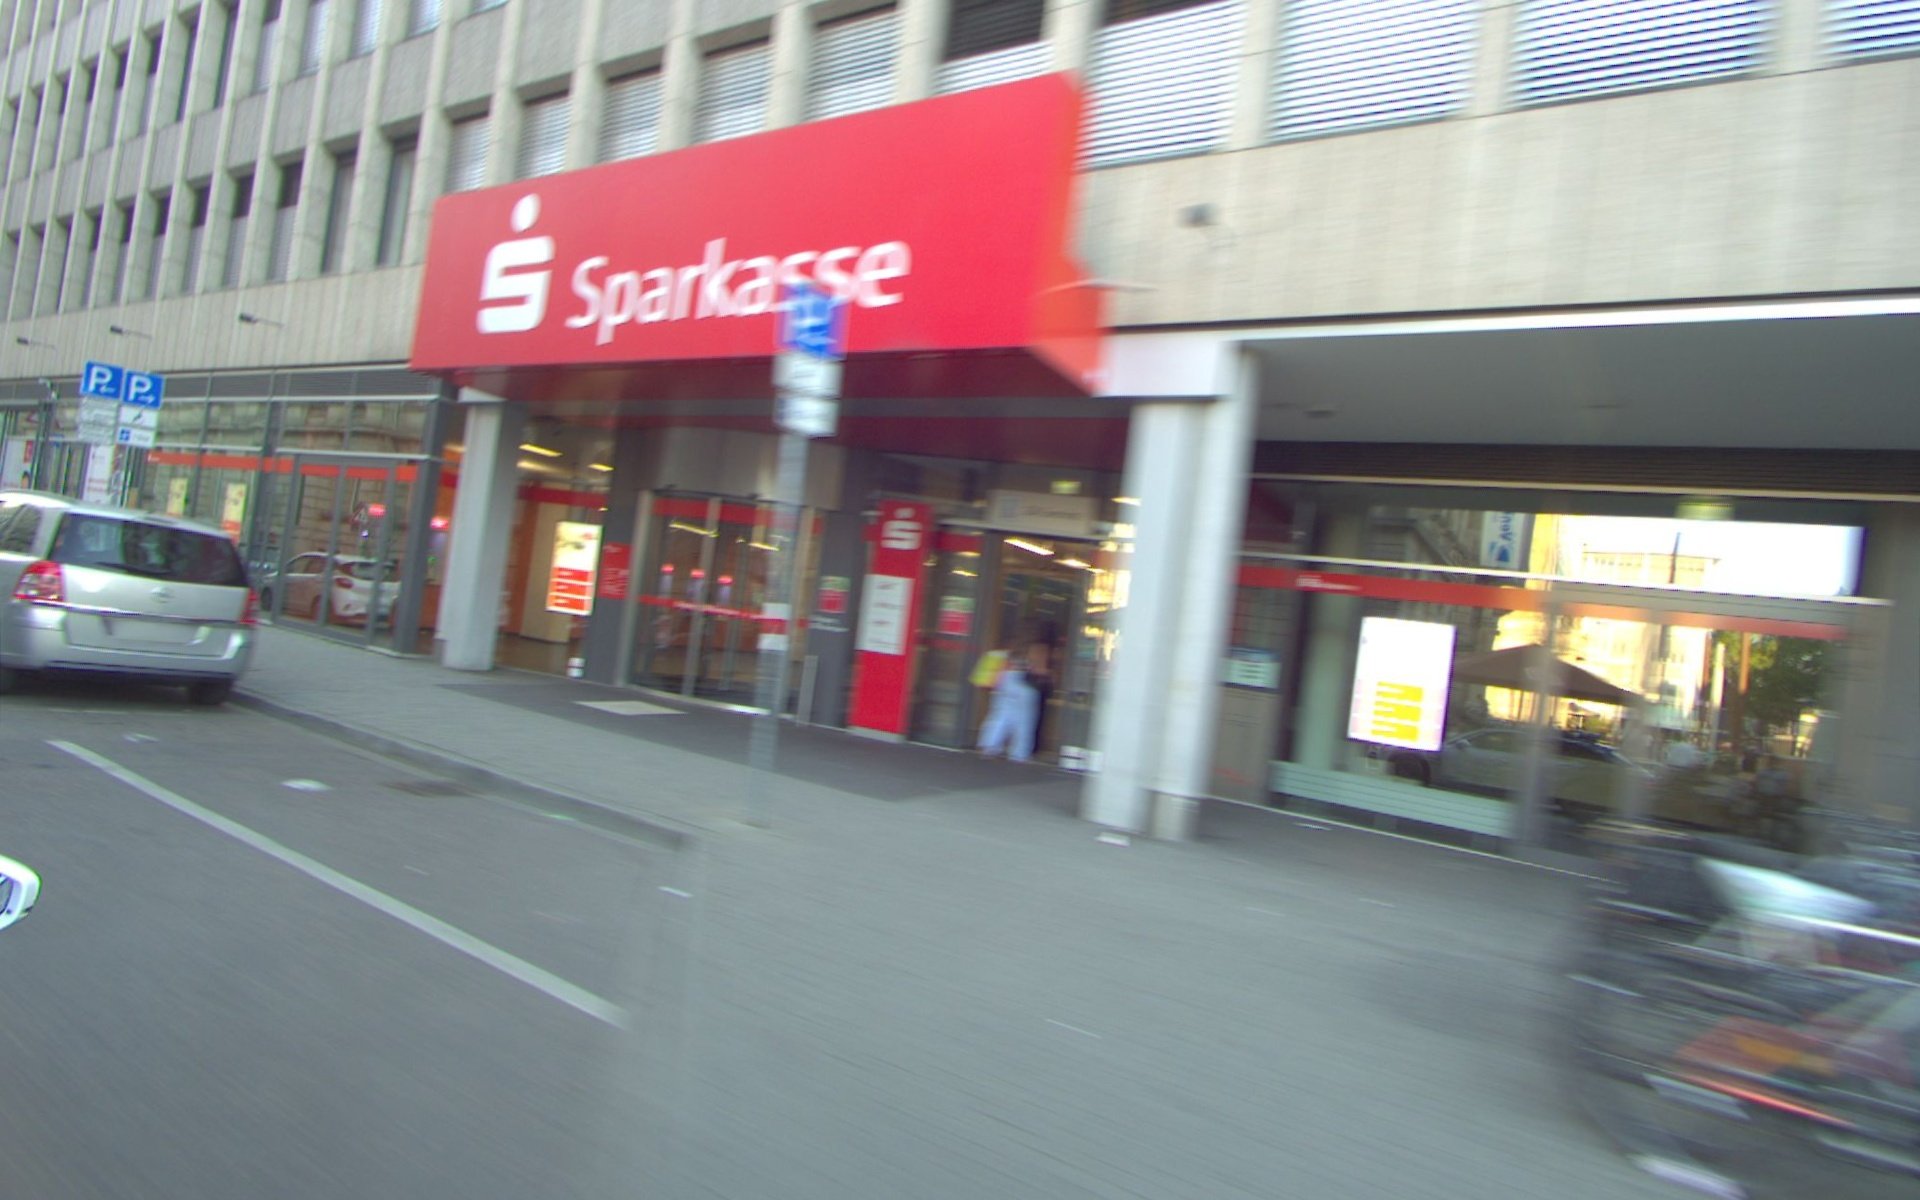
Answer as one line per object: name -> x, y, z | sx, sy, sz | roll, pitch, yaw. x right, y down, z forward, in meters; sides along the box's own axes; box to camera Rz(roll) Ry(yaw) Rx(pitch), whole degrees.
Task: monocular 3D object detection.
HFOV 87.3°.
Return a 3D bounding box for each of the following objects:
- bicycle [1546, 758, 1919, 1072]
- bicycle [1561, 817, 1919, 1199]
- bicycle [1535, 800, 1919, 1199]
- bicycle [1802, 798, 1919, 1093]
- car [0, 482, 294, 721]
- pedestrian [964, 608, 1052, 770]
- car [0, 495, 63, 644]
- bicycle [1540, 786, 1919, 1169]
bicycle -> 3.999, 1.510, 4.938 | 1.780, 1.131, 0.546 | 7, 0, 24
bicycle -> 2.688, 1.325, 2.771 | 1.658, 1.054, 0.559 | 7, 0, 34
bicycle -> 2.900, 1.368, 3.276 | 1.658, 1.054, 0.559 | 7, 0, 34
bicycle -> 4.703, 1.572, 4.101 | 1.783, 1.131, 0.545 | 7, 0, 32
car -> -8.091, -0.084, 9.079 | 3.985, 1.653, 1.775 | 7, -4, 32
pedestrian -> 0.552, 0.986, 11.368 | 0.682, 1.681, 0.705 | 7, 0, 13
car -> -12.925, -0.624, 12.125 | 4.020, 1.653, 1.776 | 7, -4, 29
bicycle -> 3.238, 1.414, 3.833 | 1.658, 1.054, 0.559 | 7, 0, 34
